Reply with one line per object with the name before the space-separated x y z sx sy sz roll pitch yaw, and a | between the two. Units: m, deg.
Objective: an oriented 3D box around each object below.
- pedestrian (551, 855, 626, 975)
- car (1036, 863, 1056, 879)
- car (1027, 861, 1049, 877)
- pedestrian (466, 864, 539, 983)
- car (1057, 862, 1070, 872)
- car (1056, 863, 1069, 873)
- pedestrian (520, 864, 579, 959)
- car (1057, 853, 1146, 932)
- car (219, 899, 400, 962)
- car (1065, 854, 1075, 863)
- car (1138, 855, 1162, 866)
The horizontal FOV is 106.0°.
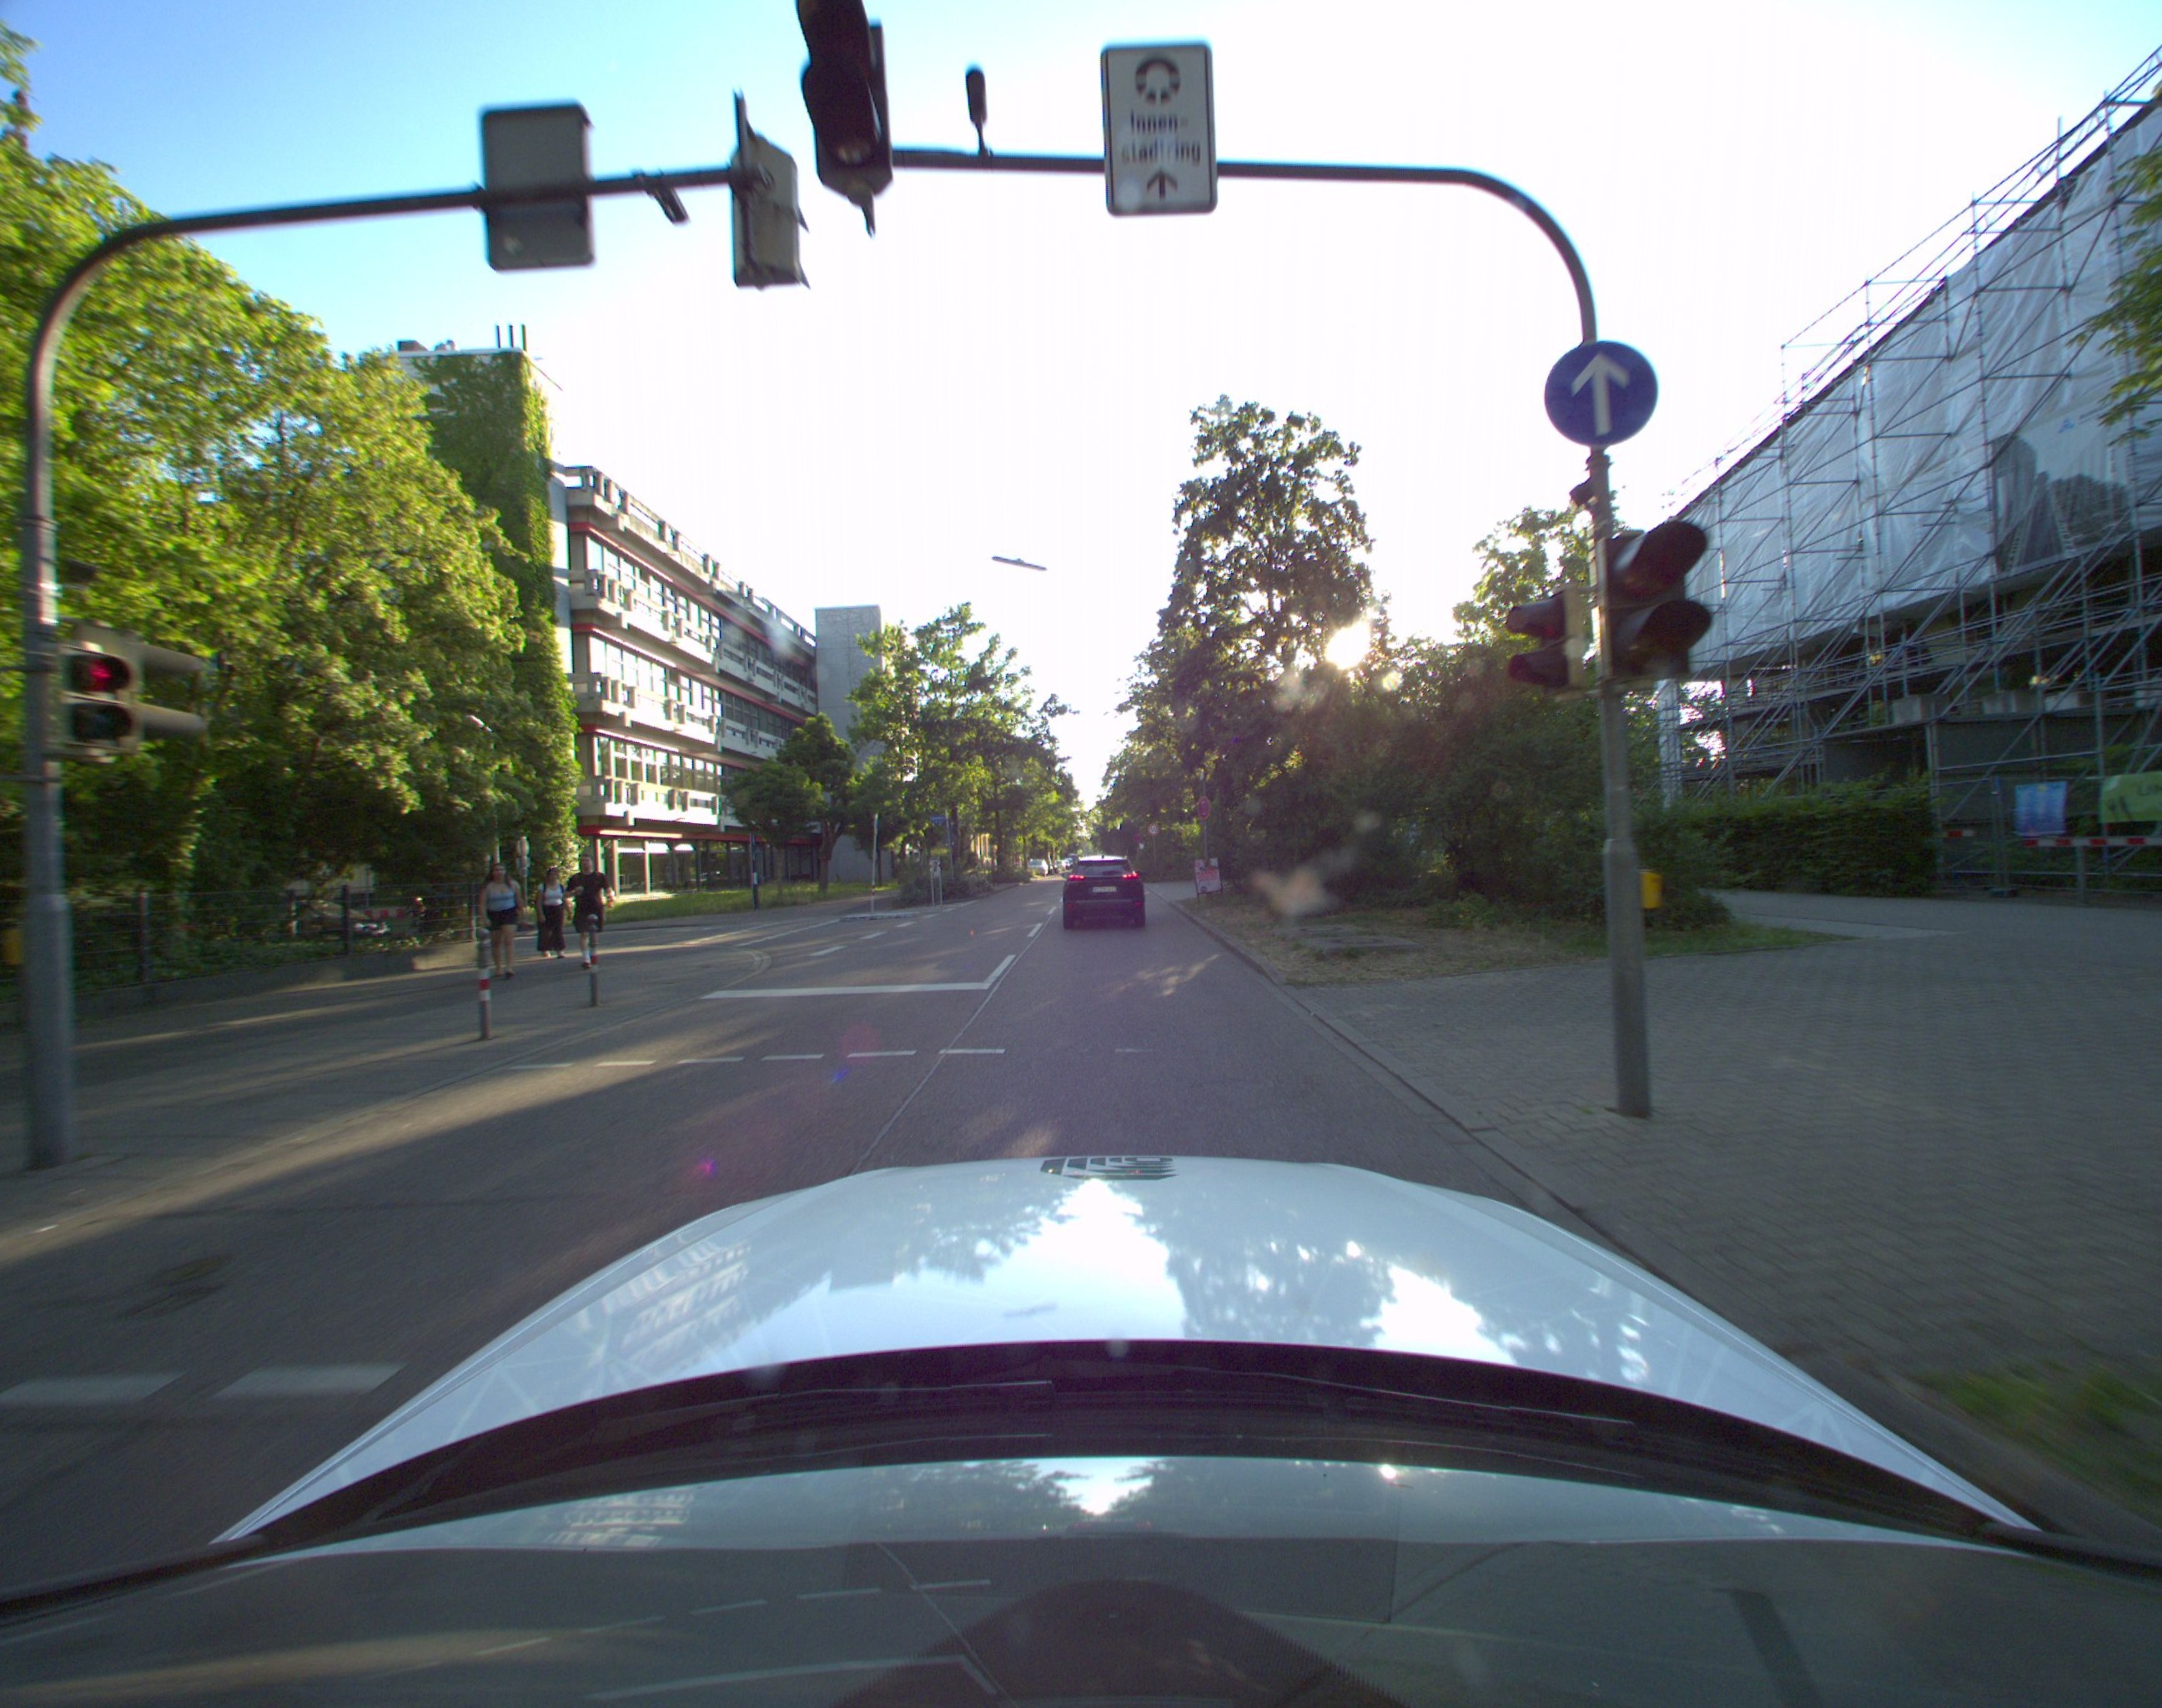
pedestrian | -7.956 0.953 13.204 0.823 1.823 0.950 -3 0 -22
car | -3.421 1.647 79.855 1.806 1.354 3.996 -3 0 -2
car | -3.904 1.326 73.618 1.807 1.354 3.995 -3 0 -4
pedestrian | -8.569 1.002 12.094 0.717 1.662 0.701 -3 0 -26
car | -2.620 1.996 123.757 1.806 1.354 3.996 -3 0 -2
car | -2.609 1.918 113.695 1.806 1.354 3.975 -3 0 -2
pedestrian | -9.853 1.040 15.113 0.716 1.662 0.761 -3 0 -22
car | 0.422 0.796 18.425 1.762 1.568 3.379 -2 0 0
car | -21.464 2.092 22.775 3.263 1.457 1.679 -3 -2 -9
car | -2.380 1.010 178.780 1.900 1.867 3.950 -2 0 1
car | 12.072 1.146 143.015 3.977 1.582 1.814 -3 0 -3
